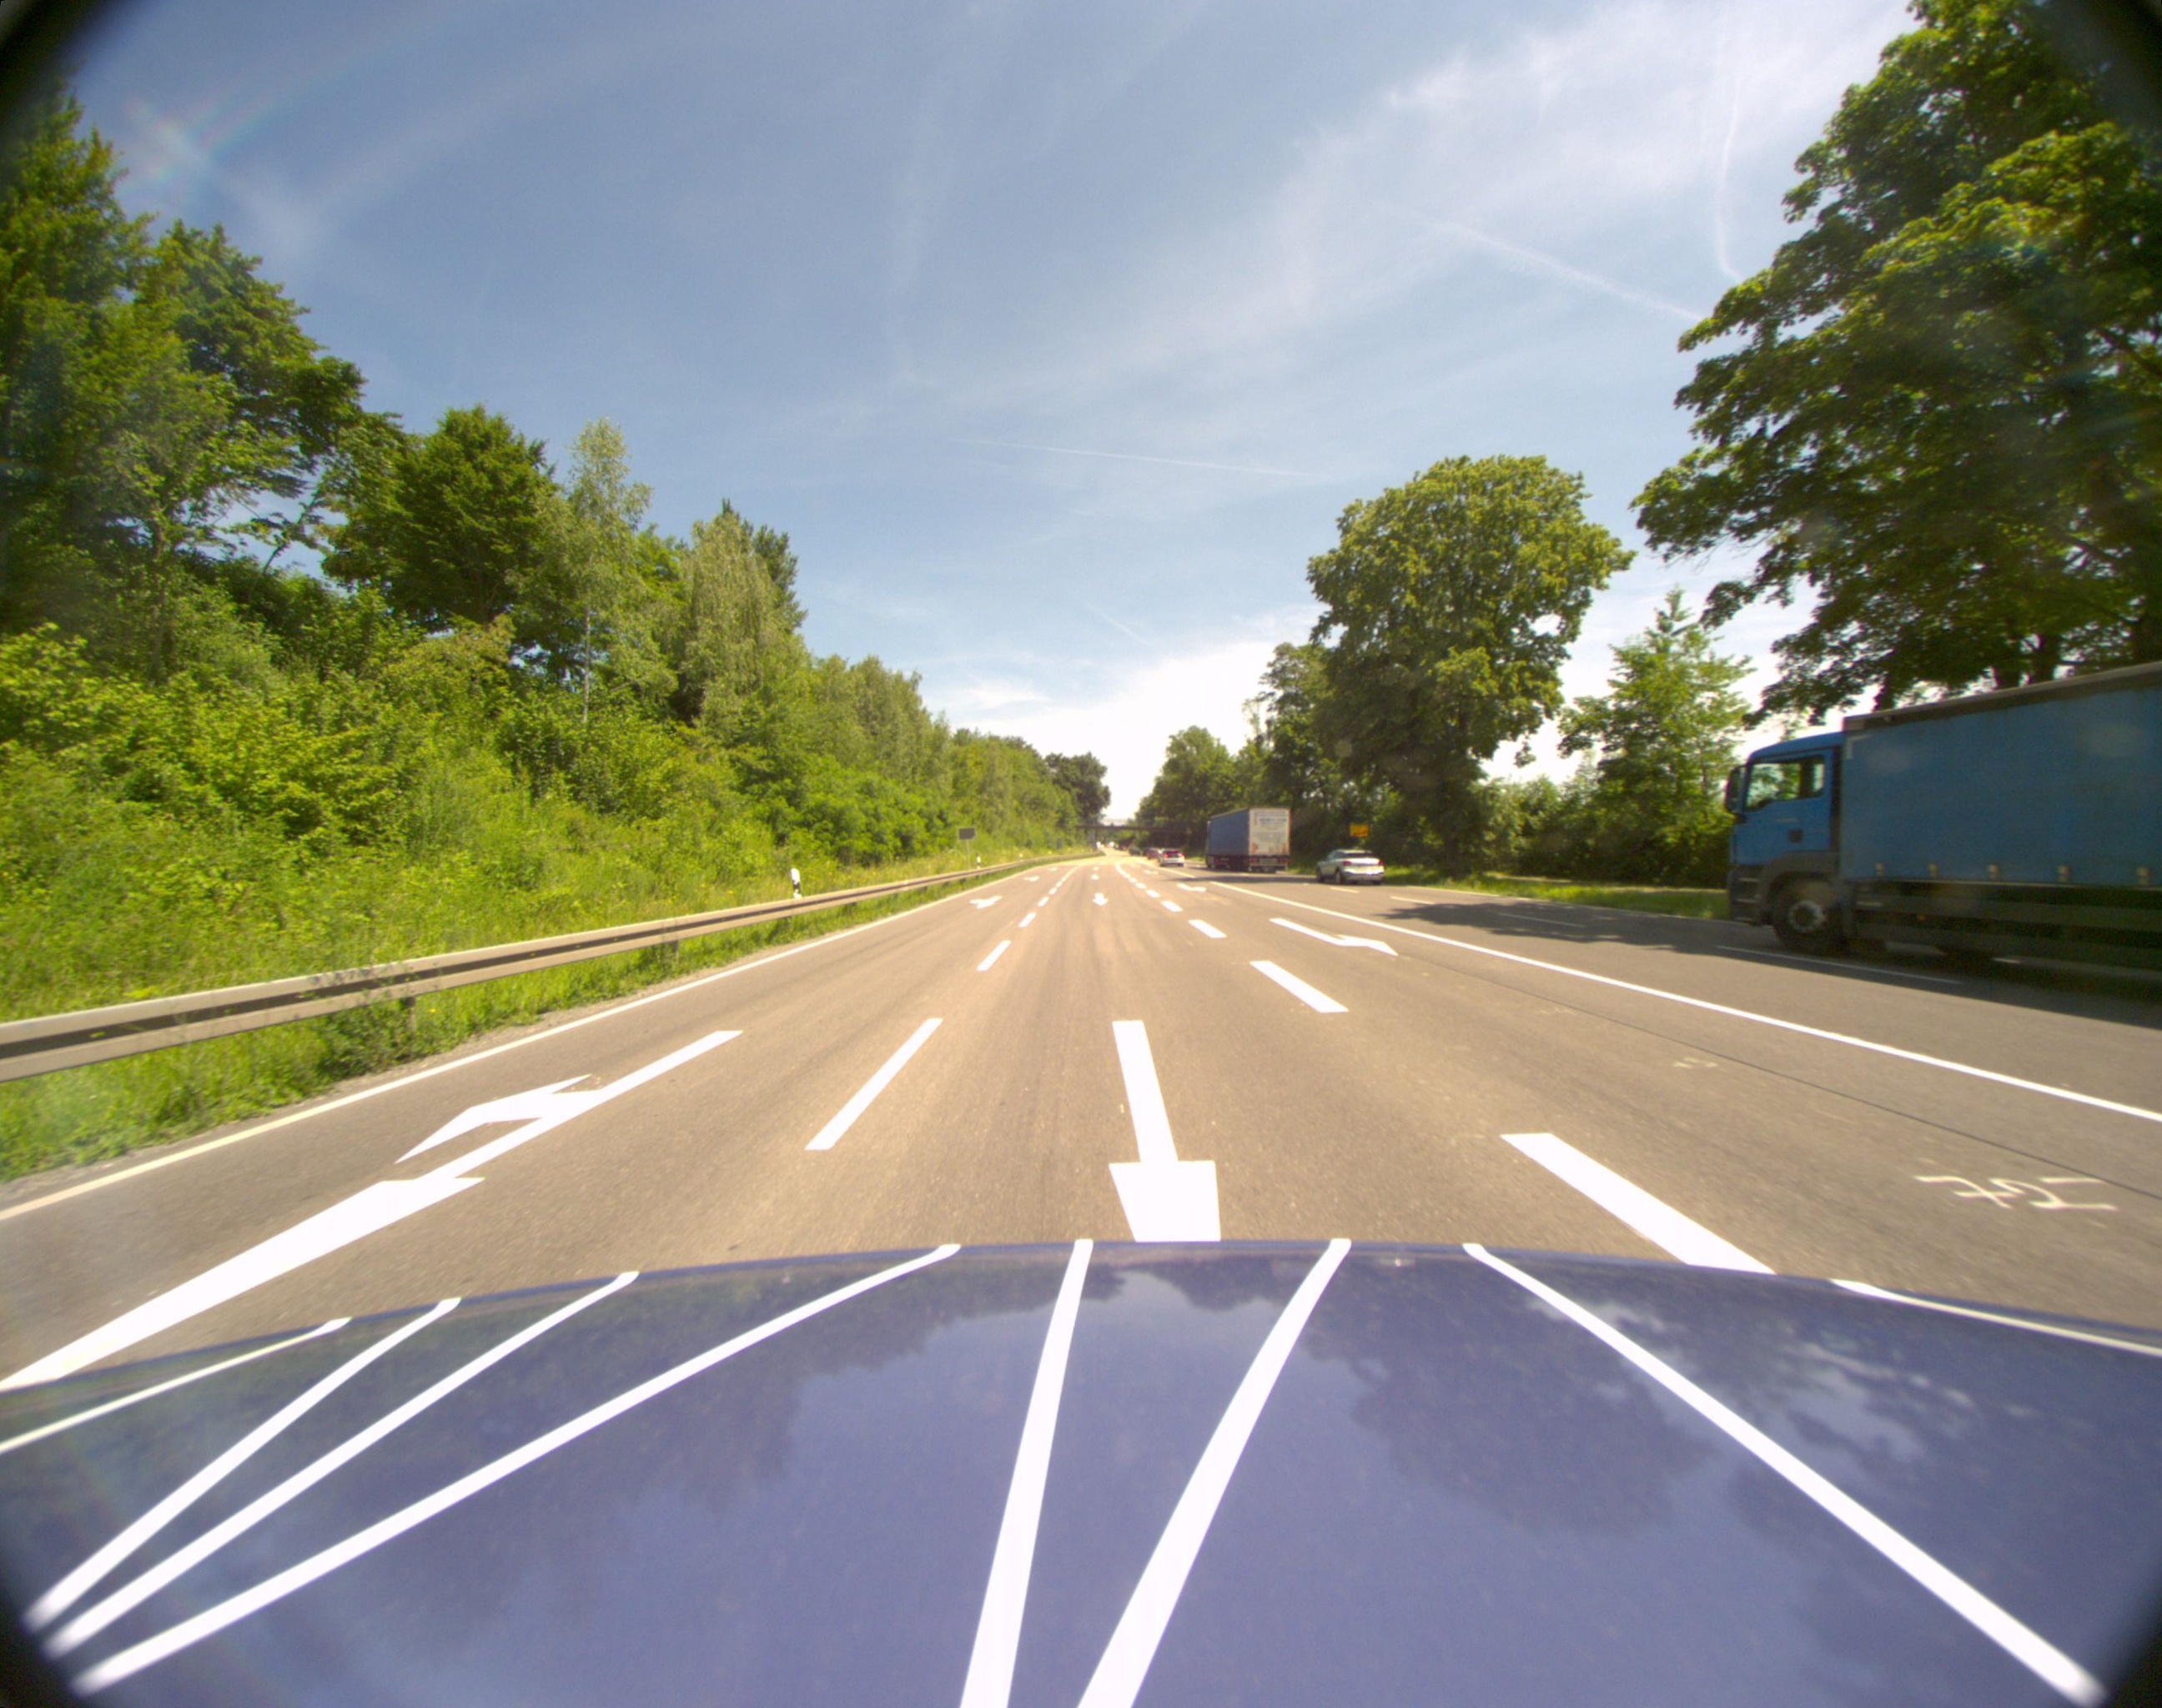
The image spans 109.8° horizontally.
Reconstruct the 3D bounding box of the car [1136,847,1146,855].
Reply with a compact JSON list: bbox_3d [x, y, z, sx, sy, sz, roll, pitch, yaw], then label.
[{"bbox_3d":[11.463,-0.664,145.529,1.771,1.378,3.999,-2,2,1],"label":"car"}]

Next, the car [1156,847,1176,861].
[{"bbox_3d":[9.253,0.002,83.053,1.704,1.407,4.561,-1,1,0],"label":"car"}]

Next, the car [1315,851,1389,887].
[{"bbox_3d":[11.509,0.586,32.512,1.765,1.419,4.180,0,0,1],"label":"car"}]

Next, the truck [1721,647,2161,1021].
[{"bbox_3d":[11.030,-0.180,5.778,2.853,3.332,11.481,-1,1,1],"label":"truck"}]

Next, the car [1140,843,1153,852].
[{"bbox_3d":[10.813,-1.107,125.072,1.646,1.430,4.016,-2,1,-1],"label":"car"}]

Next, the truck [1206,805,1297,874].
[{"bbox_3d":[11.695,-0.970,54.398,2.975,4.153,16.572,0,1,1],"label":"truck"}]

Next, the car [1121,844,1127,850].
[{"bbox_3d":[12.402,-1.973,218.773,1.907,1.500,3.765,0,1,3],"label":"car"}]

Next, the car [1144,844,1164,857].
[{"bbox_3d":[8.758,-0.413,91.423,1.924,1.472,4.687,0,0,0],"label":"car"}]

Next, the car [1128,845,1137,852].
[{"bbox_3d":[11.682,-1.189,172.021,1.771,1.378,3.999,-2,2,1],"label":"car"}]
